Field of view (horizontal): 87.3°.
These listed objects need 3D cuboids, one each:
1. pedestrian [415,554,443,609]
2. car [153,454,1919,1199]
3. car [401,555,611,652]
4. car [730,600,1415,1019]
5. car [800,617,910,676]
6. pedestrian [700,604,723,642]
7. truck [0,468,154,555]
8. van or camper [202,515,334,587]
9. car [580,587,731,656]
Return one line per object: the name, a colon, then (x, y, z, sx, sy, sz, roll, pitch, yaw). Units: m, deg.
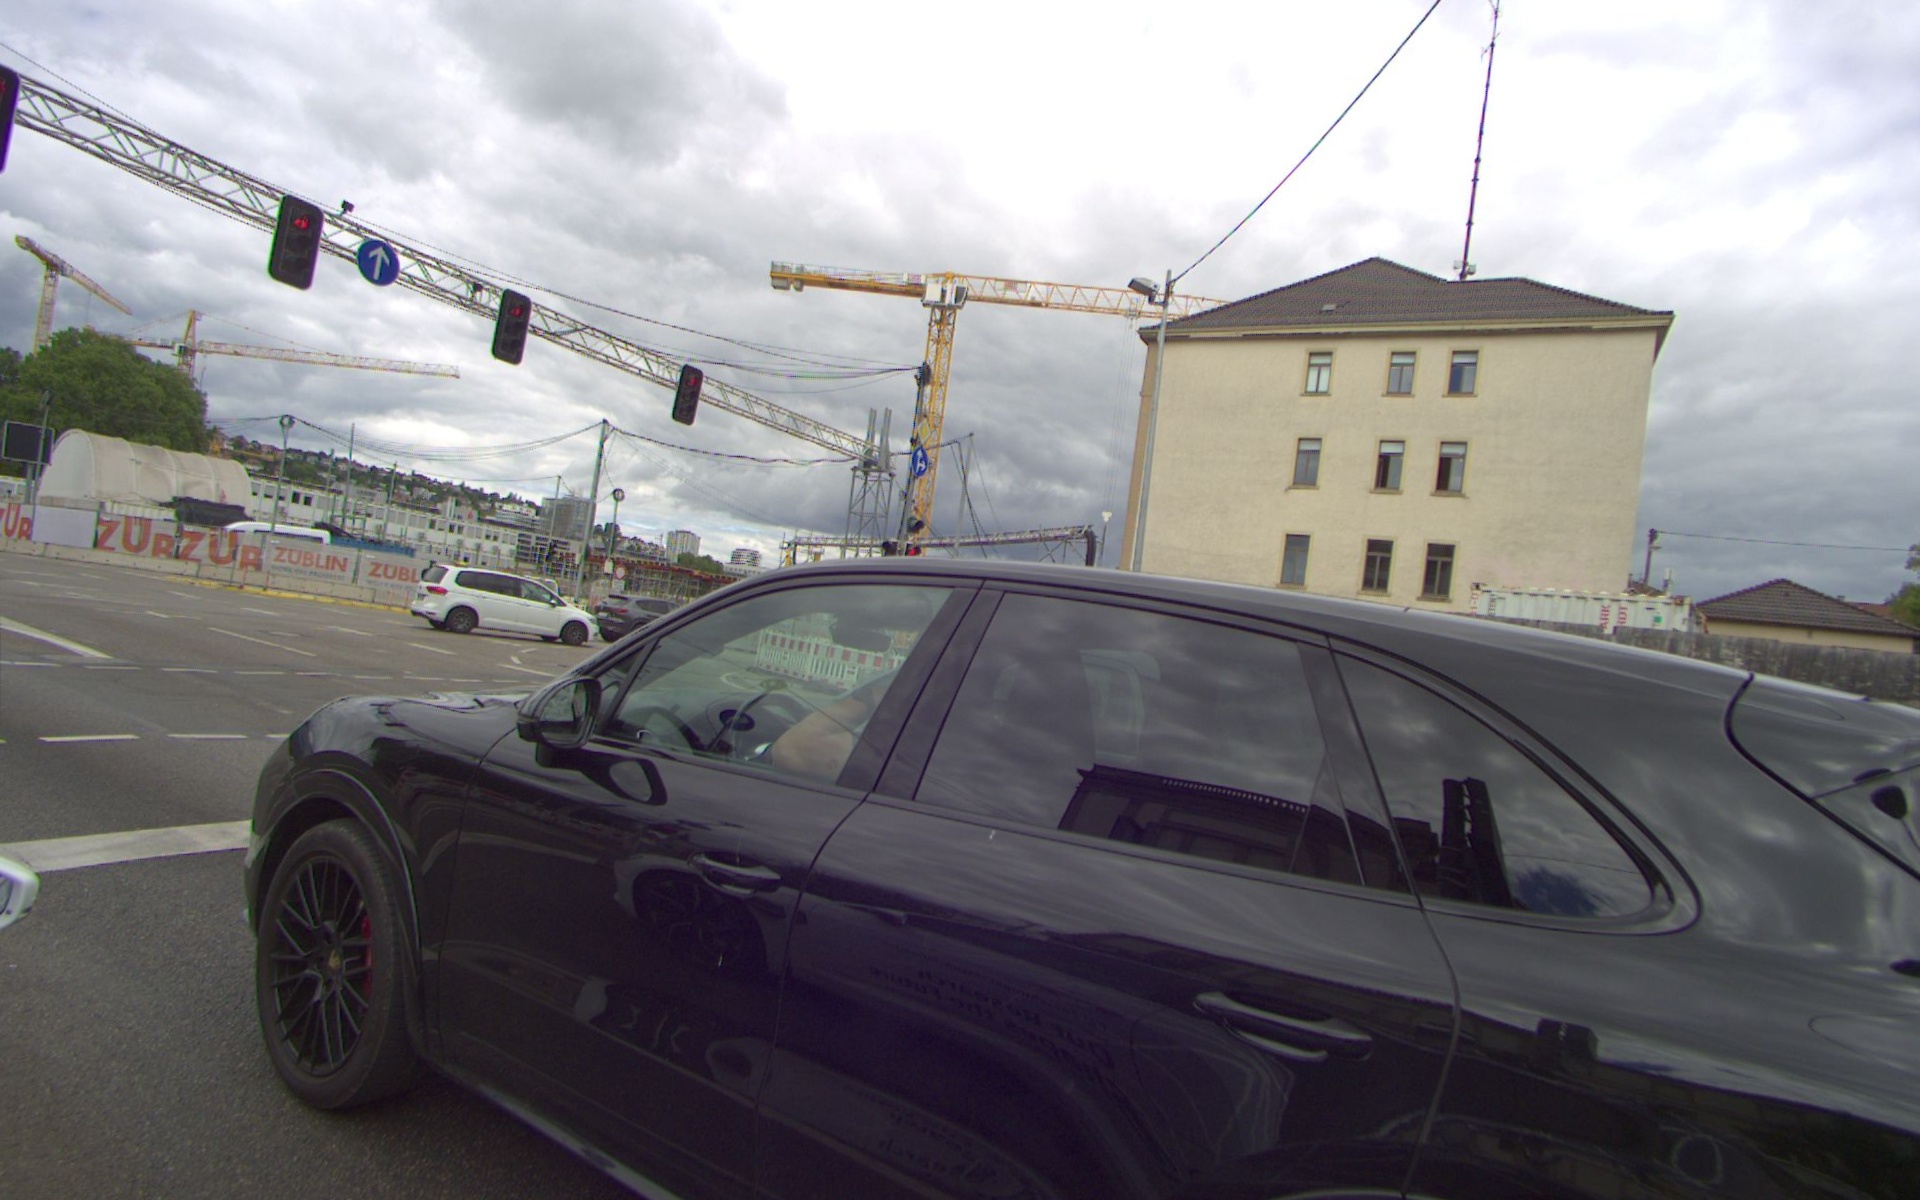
pedestrian: (-20.656, -0.715, 39.135, 0.647, 2.037, 0.513, 8, -1, -33)
car: (0.046, 0.728, 2.691, 4.559, 1.705, 1.959, 7, -2, 33)
car: (-11.544, 0.122, 25.773, 4.417, 1.755, 1.862, 10, -3, -41)
car: (0.601, 1.055, 6.367, 3.818, 1.561, 1.667, 7, -2, 33)
car: (-3.785, 1.744, 37.005, 1.770, 1.687, 4.062, 7, -3, 31)
pedestrian: (-12.577, 1.168, 50.951, 0.607, 1.816, 0.654, 7, -1, 23)
truck: (-57.893, -5.797, 61.920, 3.875, 4.086, 13.088, 8, -2, 12)
van or camper: (-29.803, -2.072, 43.404, 4.204, 2.384, 1.976, 10, -3, -44)
car: (-10.336, 0.769, 34.449, 1.855, 1.689, 4.598, 7, -3, 37)
